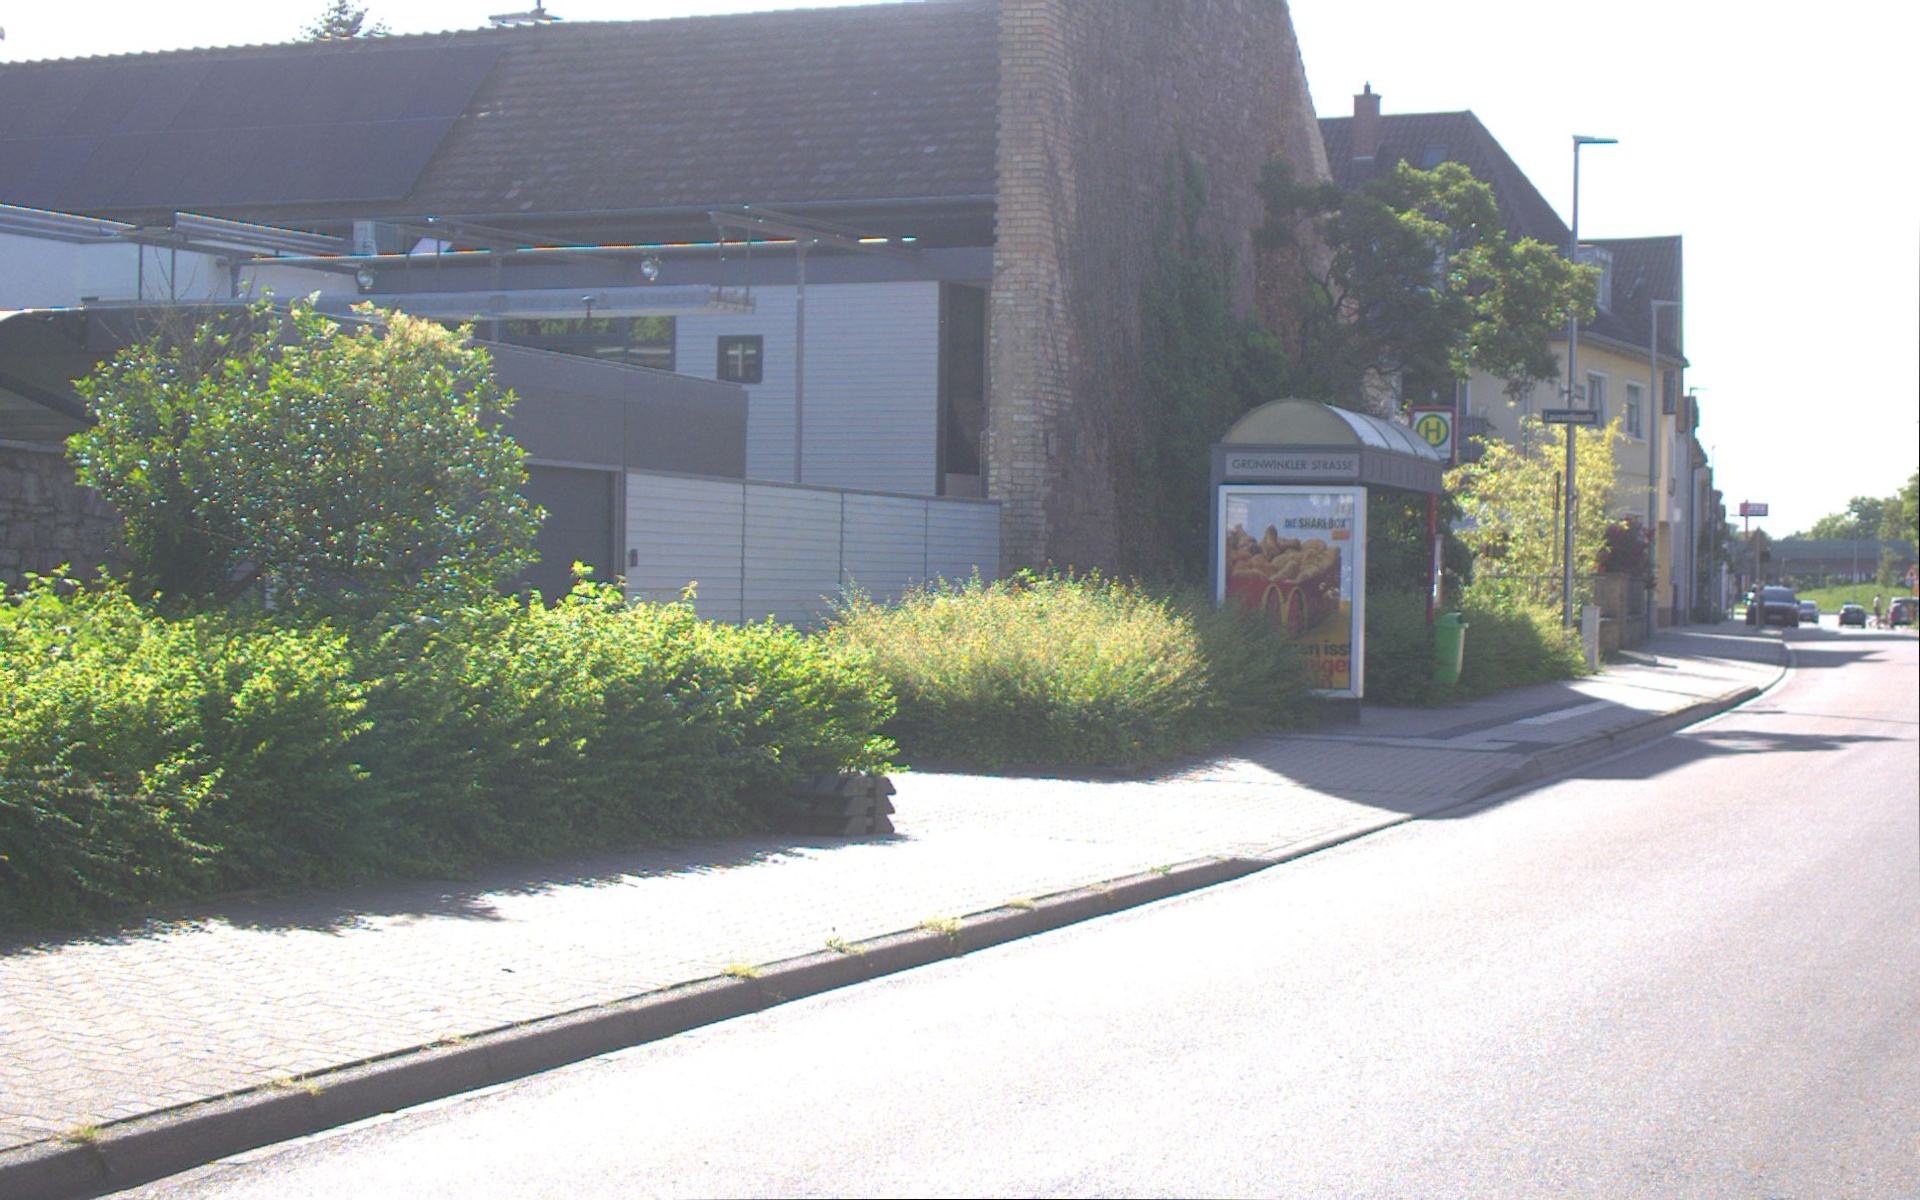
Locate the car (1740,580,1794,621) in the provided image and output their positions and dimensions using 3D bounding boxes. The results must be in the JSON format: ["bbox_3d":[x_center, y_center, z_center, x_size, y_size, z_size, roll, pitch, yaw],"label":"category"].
[{"bbox_3d":[31.102,0.012,132.572,1.909,1.469,3.998,2,1,13],"label":"car"}]

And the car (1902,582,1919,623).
[{"bbox_3d":[43.916,0.117,156.127,1.909,1.814,3.998,2,1,13],"label":"car"}]

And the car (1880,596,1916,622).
[{"bbox_3d":[57.398,0.559,210.419,1.909,1.469,3.998,2,1,13],"label":"car"}]

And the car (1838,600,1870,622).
[{"bbox_3d":[61.494,0.746,236.591,1.909,1.469,3.998,2,1,13],"label":"car"}]

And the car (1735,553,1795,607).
[{"bbox_3d":[23.477,-0.578,100.367,1.615,1.469,3.998,2,1,13],"label":"car"}]

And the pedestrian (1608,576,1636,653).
[{"bbox_3d":[11.593,0.246,60.166,0.401,1.342,0.441,1,0,21],"label":"pedestrian"}]
